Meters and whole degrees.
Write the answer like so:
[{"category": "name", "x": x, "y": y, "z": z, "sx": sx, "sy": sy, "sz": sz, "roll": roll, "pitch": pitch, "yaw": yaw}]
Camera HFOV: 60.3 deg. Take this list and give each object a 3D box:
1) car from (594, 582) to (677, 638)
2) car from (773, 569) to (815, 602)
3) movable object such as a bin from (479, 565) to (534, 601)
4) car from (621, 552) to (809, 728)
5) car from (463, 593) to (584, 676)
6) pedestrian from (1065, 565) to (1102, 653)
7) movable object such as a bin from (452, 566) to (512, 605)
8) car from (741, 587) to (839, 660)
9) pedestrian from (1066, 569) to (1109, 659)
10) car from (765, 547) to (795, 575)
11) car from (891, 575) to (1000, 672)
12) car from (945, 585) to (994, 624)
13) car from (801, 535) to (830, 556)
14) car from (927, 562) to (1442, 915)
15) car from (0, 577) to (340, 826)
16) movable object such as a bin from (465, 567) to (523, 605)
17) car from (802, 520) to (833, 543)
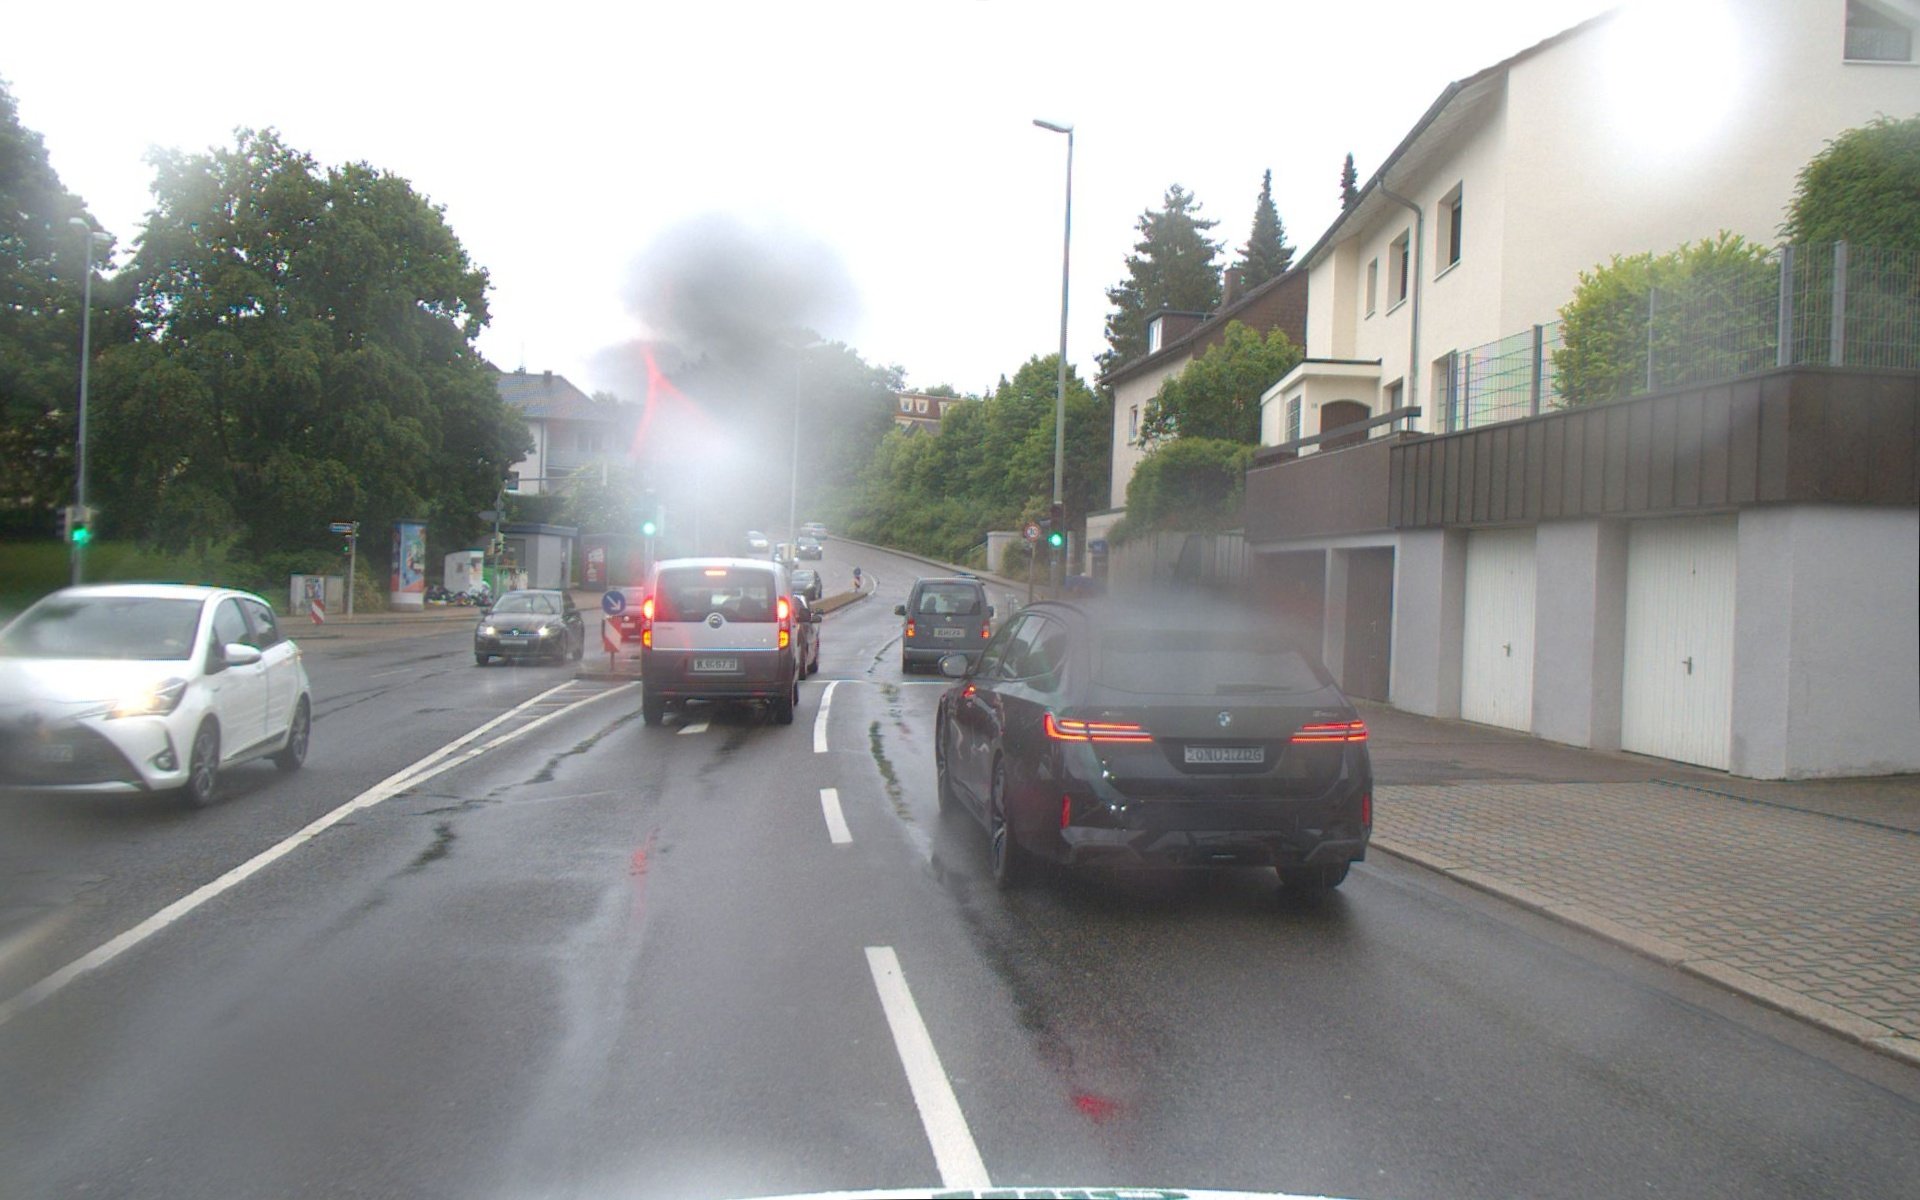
[{"category": "car", "x": -9.182, "y": 0.258, "z": 47.101, "sx": 1.816, "sy": 1.489, "sz": 3.997, "roll": 1, "pitch": 1, "yaw": -4}, {"category": "car", "x": -8.532, "y": -0.714, "z": 85.152, "sx": 1.954, "sy": 1.601, "sz": 3.997, "roll": 1, "pitch": 0, "yaw": -3}, {"category": "movable object such as a bin", "x": -20.158, "y": -0.754, "z": 73.538, "sx": 2.014, "sy": 1.541, "sz": 1.345, "roll": 1, "pitch": 2, "yaw": 4}, {"category": "car", "x": -2.872, "y": 0.425, "z": 20.329, "sx": 1.913, "sy": 1.903, "sz": 4.742, "roll": 0, "pitch": 0, "yaw": -4}, {"category": "car", "x": -8.674, "y": 0.648, "z": 33.176, "sx": 1.678, "sy": 1.529, "sz": 3.995, "roll": 1, "pitch": 0, "yaw": -5}, {"category": "pedestrian", "x": 2.909, "y": 0.214, "z": 39.008, "sx": 0.781, "sy": 2.049, "sz": 0.734, "roll": 1, "pitch": 0, "yaw": -1}, {"category": "movable object such as a bin", "x": -20.357, "y": -0.639, "z": 70.471, "sx": 2.014, "sy": 1.596, "sz": 1.582, "roll": 1, "pitch": 2, "yaw": 4}, {"category": "car", "x": -3.882, "y": 0.503, "z": 38.372, "sx": 1.869, "sy": 1.555, "sz": 4.650, "roll": 1, "pitch": 0, "yaw": -1}, {"category": "pedestrian", "x": 2.589, "y": 0.277, "z": 33.650, "sx": 0.777, "sy": 1.811, "sz": 1.011, "roll": 0, "pitch": 0, "yaw": -1}, {"category": "car", "x": -13.422, "y": -2.885, "z": 123.002, "sx": 1.957, "sy": 2.049, "sz": 3.991, "roll": 0, "pitch": 0, "yaw": -10}, {"category": "car", "x": -0.356, "y": 0.429, "z": 32.740, "sx": 1.954, "sy": 1.779, "sz": 3.997, "roll": 0, "pitch": 0, "yaw": -3}, {"category": "car", "x": 0.427, "y": 0.182, "z": 78.961, "sx": 1.816, "sy": 1.690, "sz": 3.994, "roll": 2, "pitch": 2, "yaw": -7}, {"category": "car", "x": -11.655, "y": -4.337, "z": 132.981, "sx": 1.808, "sy": 1.579, "sz": 4.371, "roll": 0, "pitch": 1, "yaw": -12}, {"category": "car", "x": 1.033, "y": 0.697, "z": 10.091, "sx": 1.956, "sy": 1.614, "sz": 4.655, "roll": 2, "pitch": -1, "yaw": -7}, {"category": "car", "x": -6.057, "y": 0.622, "z": 12.315, "sx": 1.798, "sy": 1.557, "sz": 3.994, "roll": 0, "pitch": 0, "yaw": -7}, {"category": "movable object such as a bin", "x": -20.275, "y": -0.626, "z": 72.070, "sx": 2.014, "sy": 1.596, "sz": 1.582, "roll": 1, "pitch": 2, "yaw": 4}, {"category": "car", "x": -13.552, "y": -6.532, "z": 157.564, "sx": 1.965, "sy": 2.049, "sz": 3.975, "roll": 0, "pitch": 0, "yaw": -21}]
